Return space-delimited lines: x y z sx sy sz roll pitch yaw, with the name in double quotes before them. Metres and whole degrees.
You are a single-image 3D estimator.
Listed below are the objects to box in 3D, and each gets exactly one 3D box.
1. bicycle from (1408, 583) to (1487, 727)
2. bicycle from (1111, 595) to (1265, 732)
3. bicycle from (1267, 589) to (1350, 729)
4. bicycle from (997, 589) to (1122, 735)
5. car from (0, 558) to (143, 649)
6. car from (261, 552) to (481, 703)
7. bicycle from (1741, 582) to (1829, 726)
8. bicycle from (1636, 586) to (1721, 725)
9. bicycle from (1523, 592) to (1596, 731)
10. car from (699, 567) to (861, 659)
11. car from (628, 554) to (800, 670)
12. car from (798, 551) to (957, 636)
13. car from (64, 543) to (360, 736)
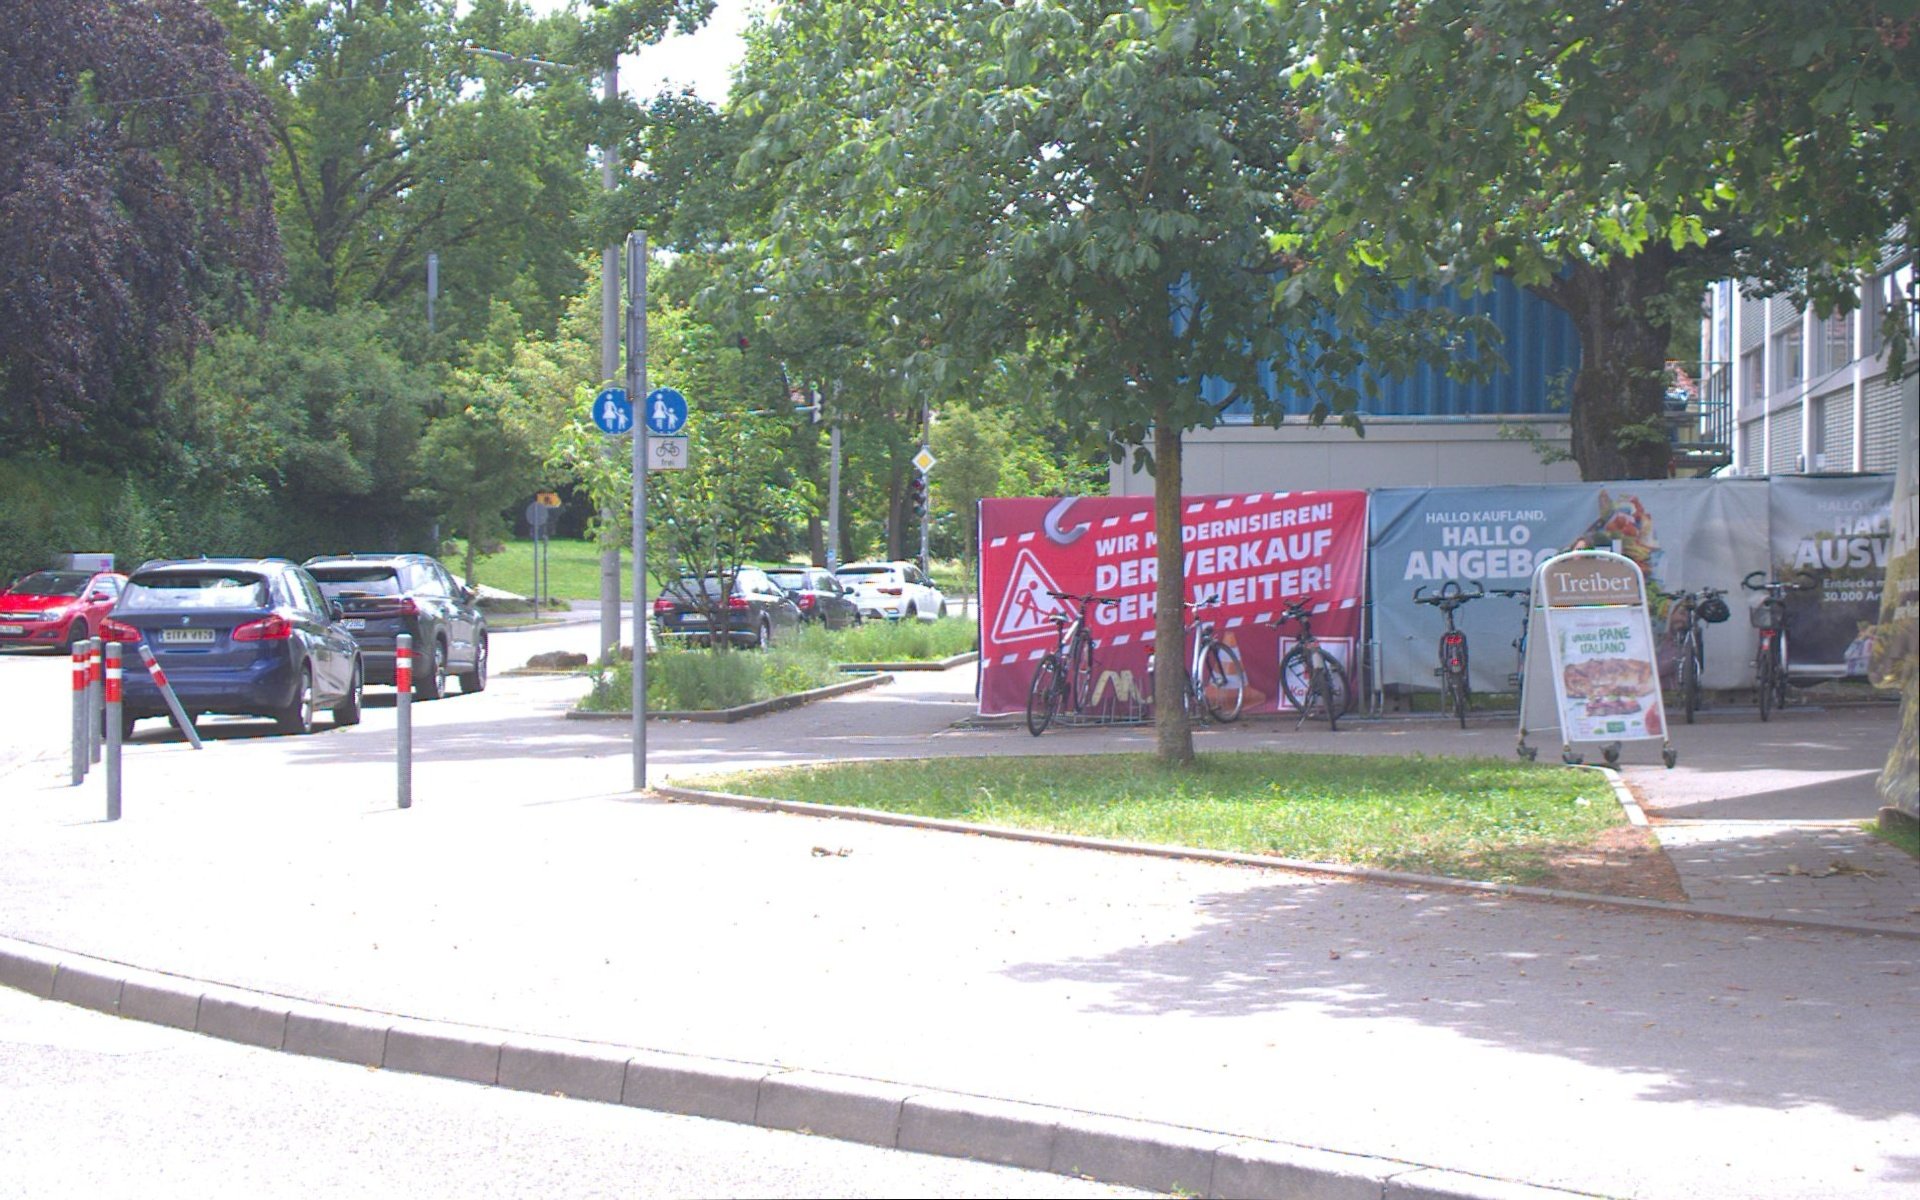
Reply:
"bicycle" 4.099 0.442 28.818 0.529 1.090 2.070 2 2 10
"bicycle" 1.939 0.517 28.982 0.630 1.046 2.069 3 2 22
"bicycle" 2.924 0.470 28.825 0.630 1.046 2.071 2 2 6
"bicycle" 0.863 0.509 29.275 0.630 1.123 1.968 3 2 13
"car" -15.507 0.037 58.909 2.063 1.381 4.048 1 2 0
"car" -6.599 0.269 38.870 1.919 1.495 3.926 0 2 -2
"bicycle" 6.715 0.421 27.985 0.630 1.060 1.968 3 2 13
"bicycle" 5.946 0.438 28.476 0.630 1.046 1.968 2 2 11
"bicycle" 5.016 0.497 28.830 0.540 1.046 1.968 2 2 9
"car" -3.228 0.203 62.480 2.064 1.471 3.923 1 2 11
"car" -4.027 0.164 56.934 1.898 1.738 3.923 1 2 11
"car" -1.591 -0.161 67.540 2.064 1.495 3.922 1 2 15
"car" -6.674 0.302 31.063 1.932 1.532 3.926 0 2 -2
